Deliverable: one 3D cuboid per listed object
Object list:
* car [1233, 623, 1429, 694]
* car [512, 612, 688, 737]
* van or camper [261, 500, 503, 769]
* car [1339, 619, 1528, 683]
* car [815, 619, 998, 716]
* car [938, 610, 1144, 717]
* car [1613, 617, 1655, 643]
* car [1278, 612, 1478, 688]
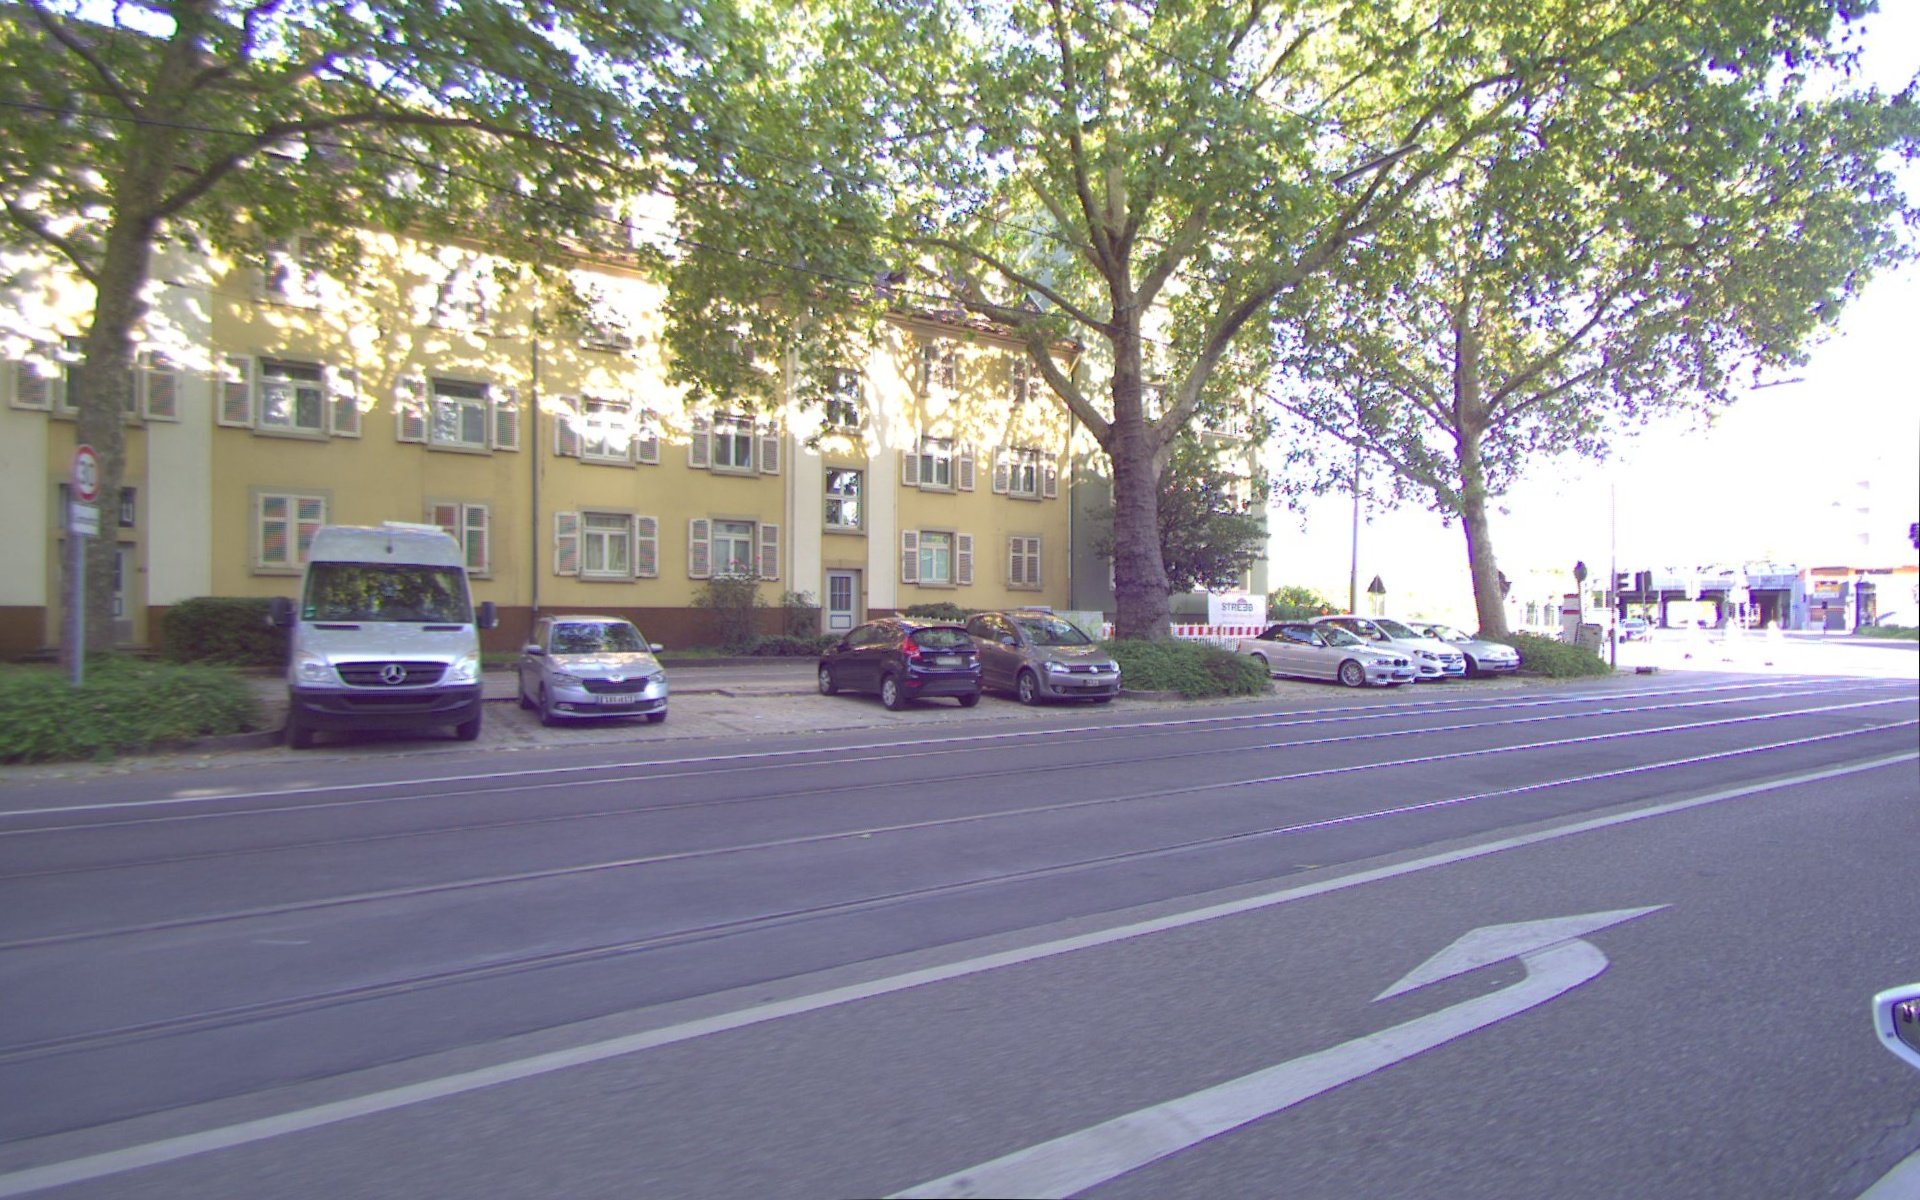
[{"bbox_3d":[8.659,1.304,23.790,1.708,1.386,4.219,1,0,-31],"label":"car"},{"bbox_3d":[-5.509,1.004,15.043,1.710,1.489,4.124,2,0,-30],"label":"car"},{"bbox_3d":[-7.698,0.349,13.299,2.205,2.713,6.077,1,0,-32],"label":"van or camper"},{"bbox_3d":[12.673,1.319,27.199,1.657,1.448,4.489,1,0,-30],"label":"car"},{"bbox_3d":[-1.031,1.092,17.569,1.723,1.448,3.544,1,0,-32],"label":"car"},{"bbox_3d":[1.376,1.071,18.745,1.793,1.627,4.168,1,1,-30],"label":"car"},{"bbox_3d":[42.631,1.889,63.464,1.803,1.539,3.877,2,0,39],"label":"car"},{"bbox_3d":[10.600,1.204,25.844,1.777,1.640,4.586,1,1,-30],"label":"car"}]
